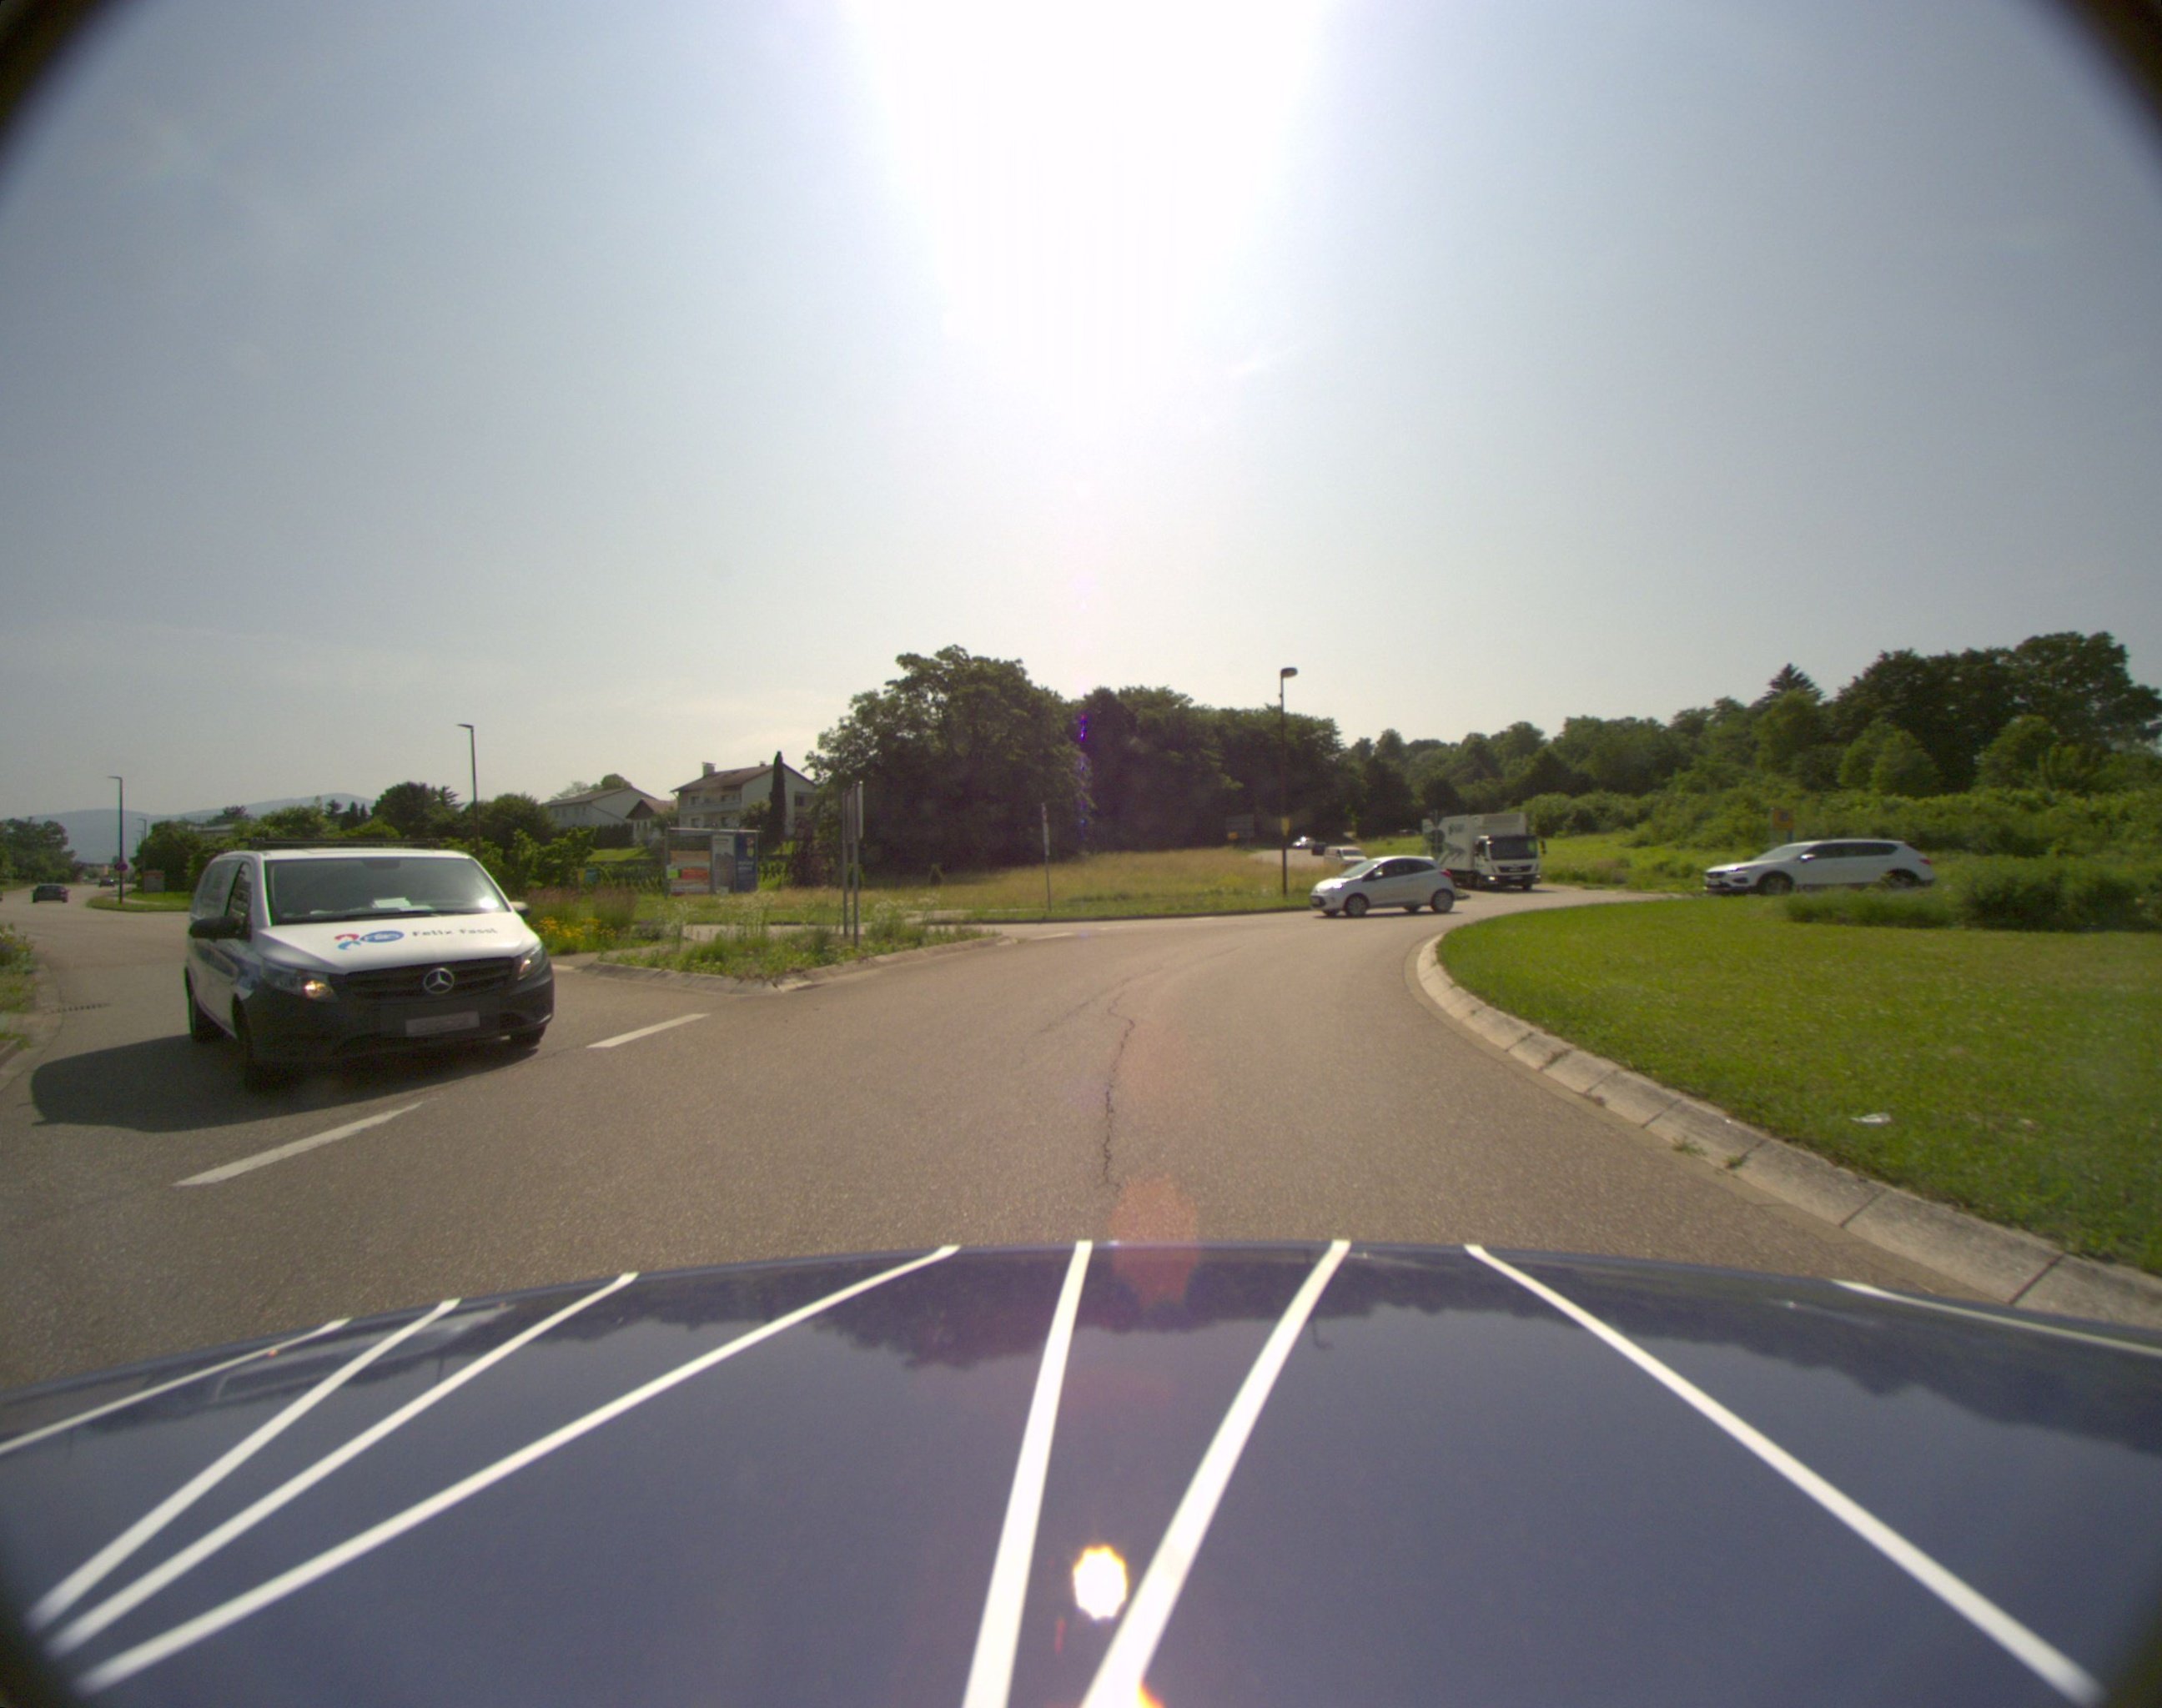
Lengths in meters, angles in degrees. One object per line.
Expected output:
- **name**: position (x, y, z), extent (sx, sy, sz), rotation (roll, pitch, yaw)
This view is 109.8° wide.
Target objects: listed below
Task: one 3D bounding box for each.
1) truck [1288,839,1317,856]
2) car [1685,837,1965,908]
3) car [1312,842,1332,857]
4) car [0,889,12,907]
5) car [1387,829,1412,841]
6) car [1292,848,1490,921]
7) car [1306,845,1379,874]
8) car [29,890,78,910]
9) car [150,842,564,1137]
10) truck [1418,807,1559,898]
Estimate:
- **truck**: position (29.908, -0.904, 102.446), extent (2.357, 2.002, 5.450), rotation (-2, 0, 31)
- **car**: position (20.209, 0.499, 20.935), extent (5.113, 1.642, 2.199), rotation (-3, 0, 10)
- **car**: position (28.151, -0.516, 88.738), extent (1.753, 1.521, 4.221), rotation (1, -1, 24)
- **car**: position (-95.145, 3.886, 66.352), extent (4.030, 1.475, 1.777), rotation (-1, 0, 32)
- **car**: position (46.829, -2.798, 111.774), extent (1.907, 1.586, 4.383), rotation (0, -1, 45)
- **car**: position (7.975, 0.801, 19.817), extent (4.198, 1.605, 2.129), rotation (-2, -2, -5)
- **car**: position (19.681, 0.414, 57.468), extent (2.002, 2.002, 5.593), rotation (-3, 0, -21)
- **car**: position (-86.905, 3.861, 64.264), extent (4.030, 1.475, 1.777), rotation (-1, 0, 27)
- **car**: position (-7.152, 0.979, 7.291), extent (5.216, 1.926, 1.864), rotation (-2, 0, 36)
- **truck**: position (19.522, -0.084, 37.212), extent (2.896, 3.806, 9.028), rotation (-3, 0, 7)
